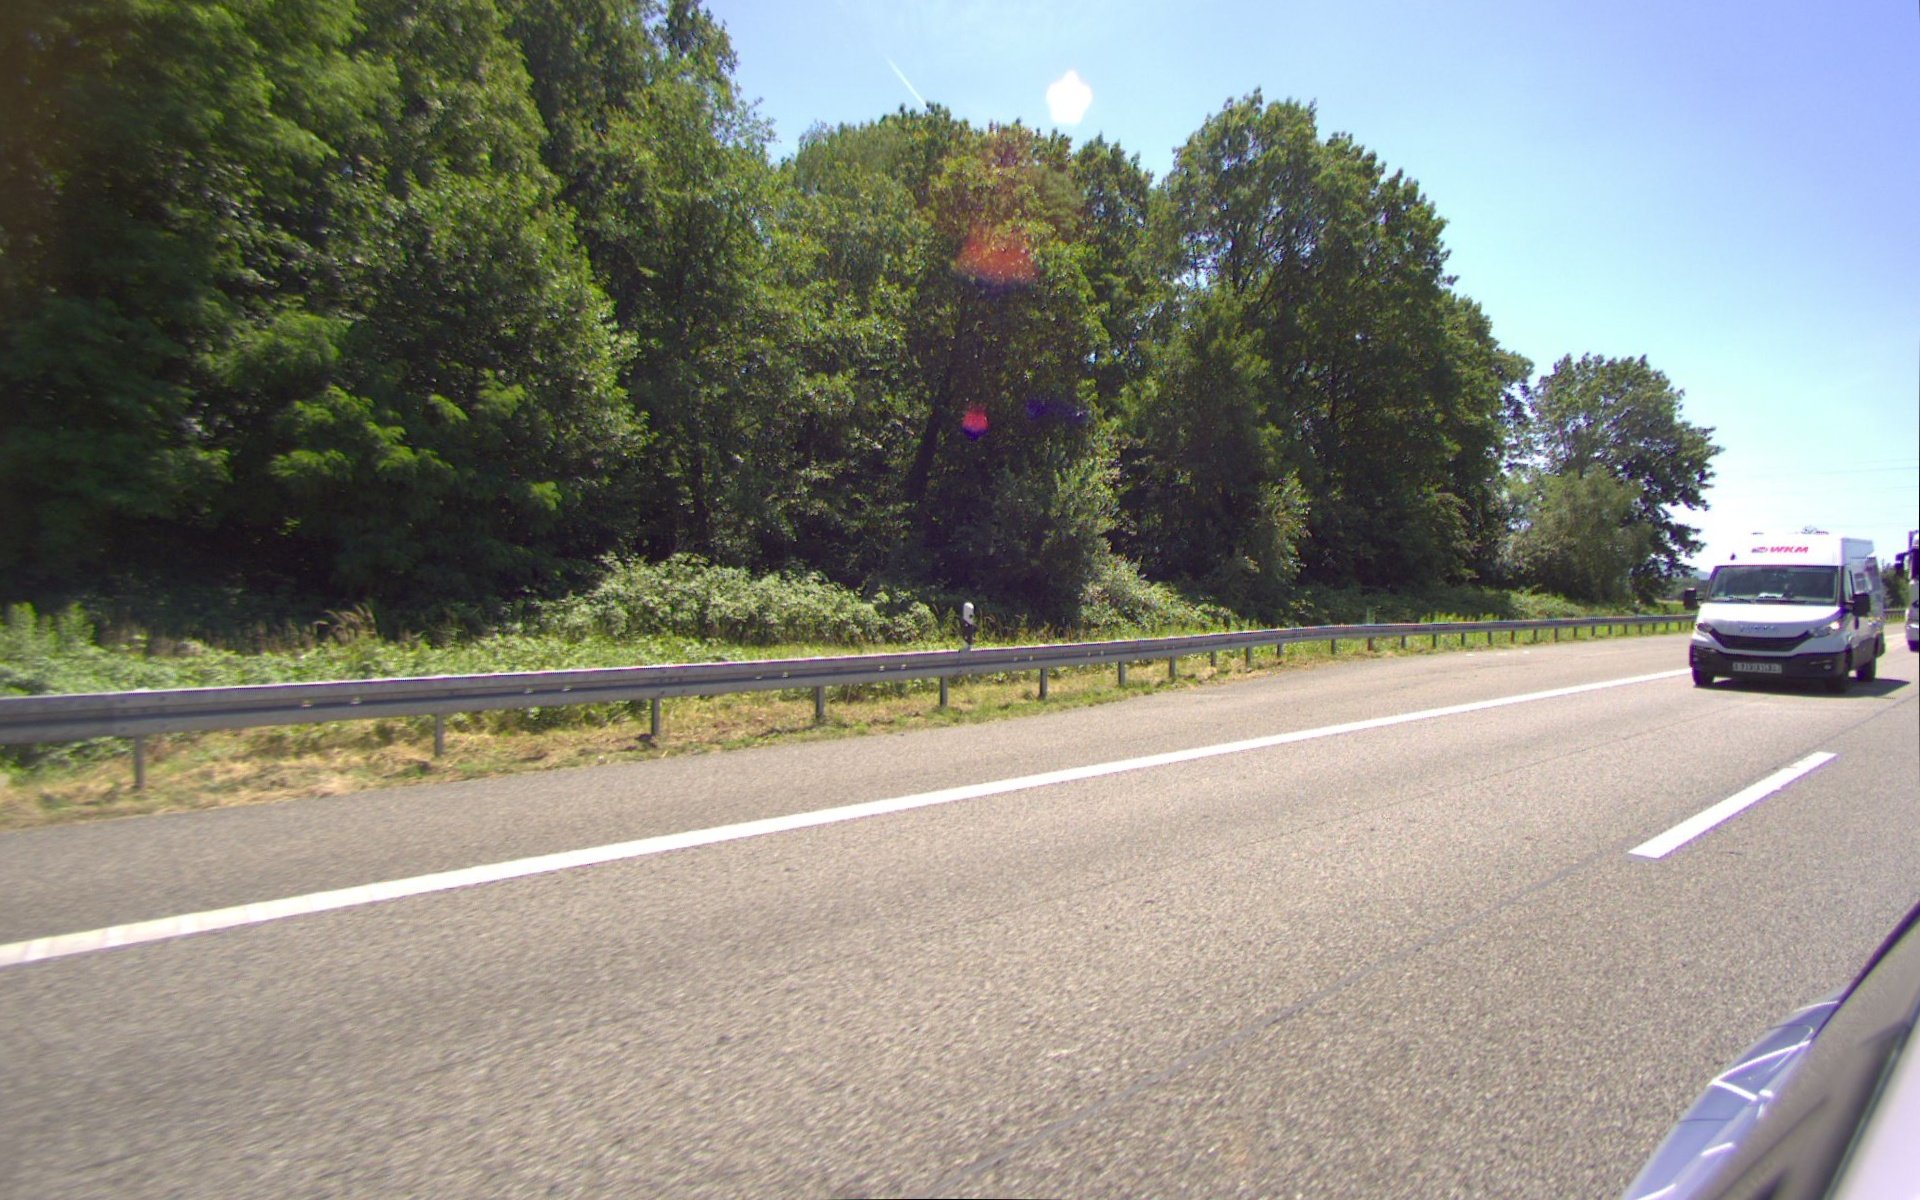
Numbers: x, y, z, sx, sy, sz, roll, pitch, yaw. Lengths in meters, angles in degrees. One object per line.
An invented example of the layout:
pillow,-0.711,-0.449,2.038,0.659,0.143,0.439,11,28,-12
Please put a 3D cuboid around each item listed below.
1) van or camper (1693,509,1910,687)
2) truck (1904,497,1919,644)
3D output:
van or camper,15.148,-0.050,18.045,6.374,2.670,2.025,0,0,-41
truck,30.012,-0.840,29.549,6.749,4.081,2.894,0,0,-41
